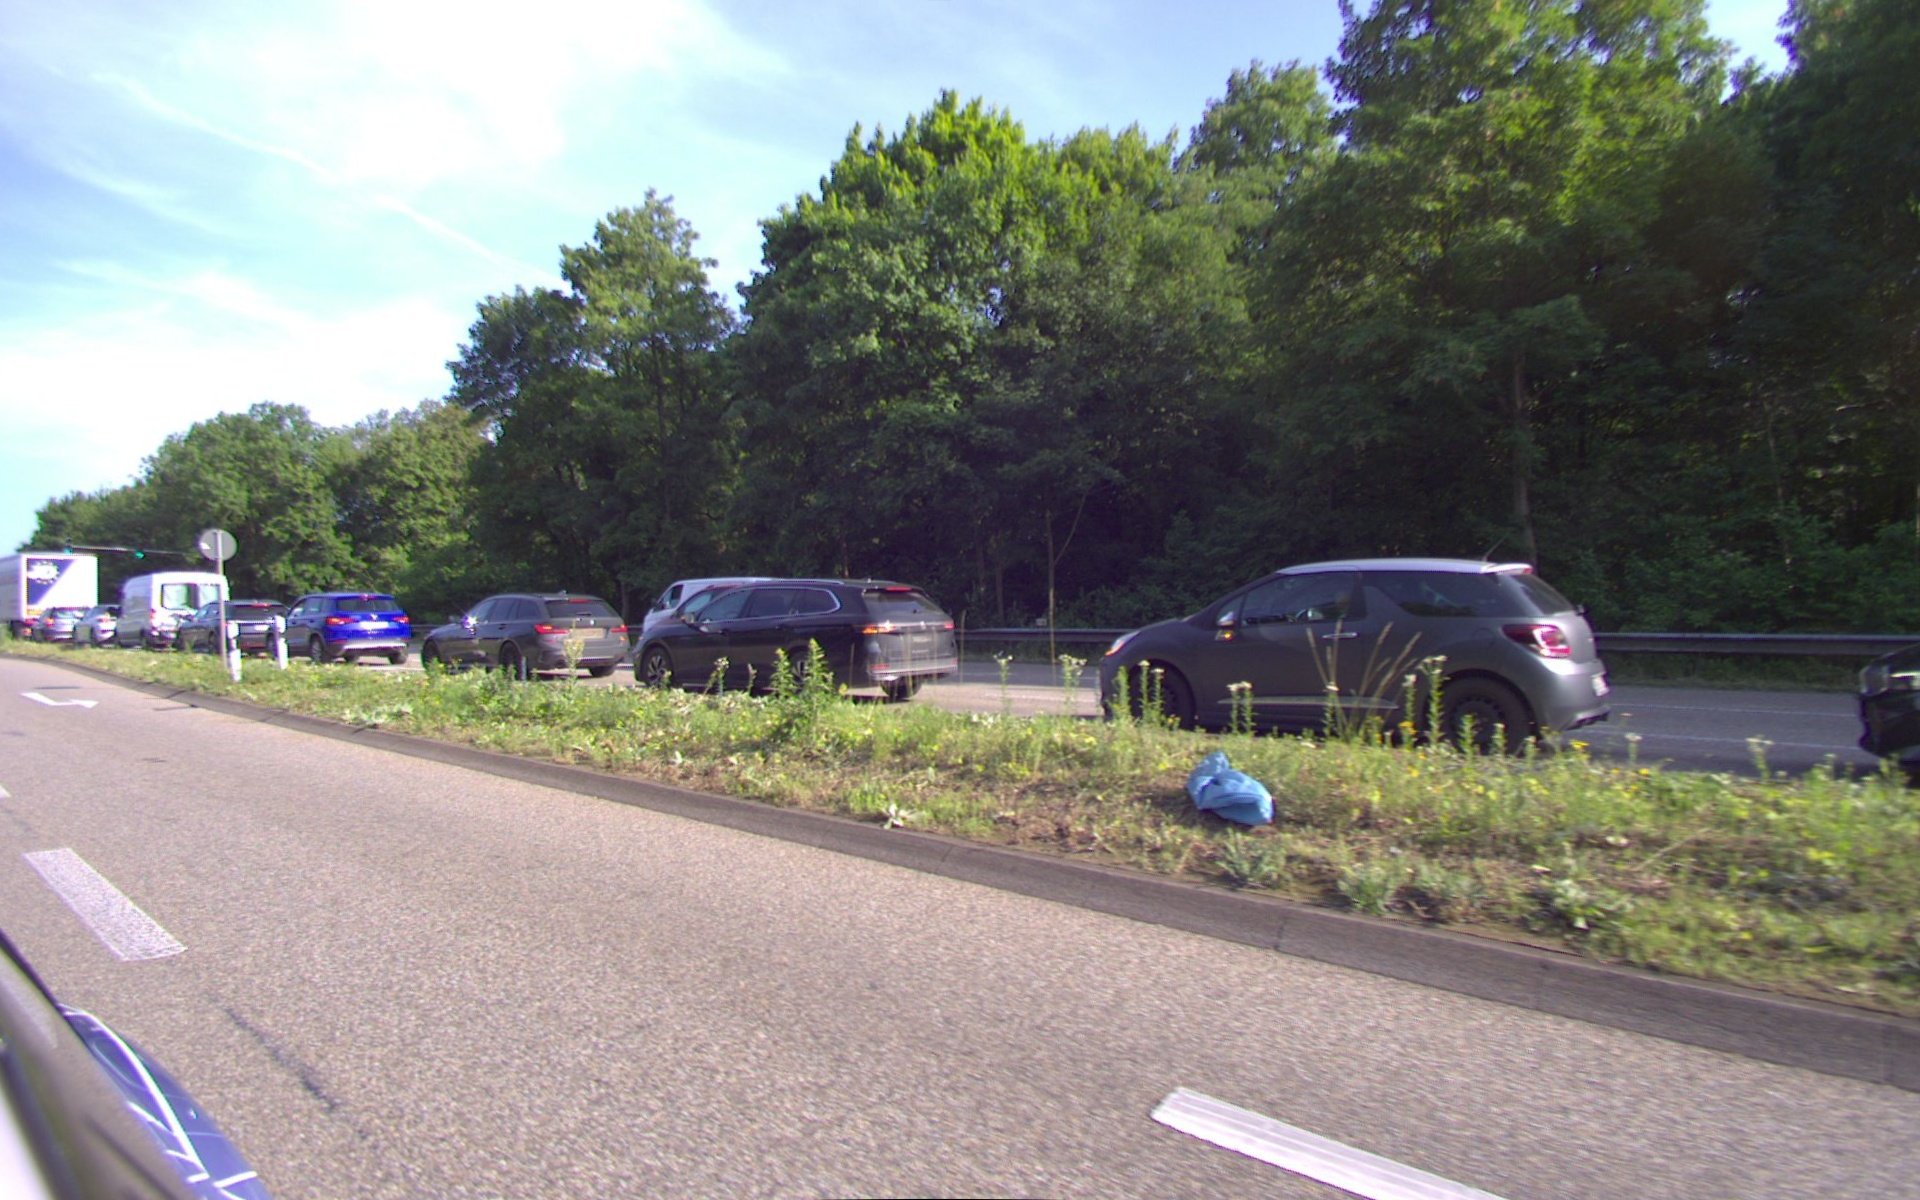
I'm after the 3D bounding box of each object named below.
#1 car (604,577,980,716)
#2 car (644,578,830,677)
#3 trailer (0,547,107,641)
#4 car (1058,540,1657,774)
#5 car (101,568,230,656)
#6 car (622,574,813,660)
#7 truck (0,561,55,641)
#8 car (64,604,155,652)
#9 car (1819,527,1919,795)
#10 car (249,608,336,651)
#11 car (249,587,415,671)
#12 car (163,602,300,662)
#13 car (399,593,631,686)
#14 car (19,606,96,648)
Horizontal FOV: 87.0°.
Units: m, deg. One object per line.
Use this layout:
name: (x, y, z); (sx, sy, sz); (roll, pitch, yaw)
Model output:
car: (-2.307, 0.536, 12.764); (5.188, 1.434, 1.753); (-2, -1, 40)
car: (-4.305, 0.548, 19.342); (3.571, 1.719, 1.609); (-2, -3, 39)
trailer: (-45.066, -0.158, 49.059); (13.998, 4.025, 2.963); (-2, 1, 39)
car: (3.014, 0.399, 8.225); (4.208, 1.434, 1.689); (-2, -1, 40)
car: (-25.444, 0.415, 32.316); (6.159, 2.553, 2.054); (-2, -1, 40)
car: (-6.115, 0.478, 25.177); (5.098, 1.950, 1.991); (-2, -4, 40)
truck: (-50.654, 0.122, 53.616); (6.713, 4.027, 2.863); (-2, 1, 39)
car: (-31.370, 1.023, 37.295); (4.742, 1.644, 1.683); (-2, -1, 39)
car: (7.406, 0.278, 4.666); (5.189, 1.434, 1.749); (-2, -1, 40)
car: (-23.247, 1.036, 35.195); (3.615, 1.394, 1.530); (-2, -4, 40)
car: (-14.056, 0.642, 22.543); (4.796, 1.682, 1.753); (-2, -1, 40)
car: (-19.355, 0.831, 26.793); (5.181, 1.467, 1.742); (-2, -1, 40)
car: (-7.810, 0.653, 17.525); (4.839, 1.390, 1.753); (-2, -1, 40)
car: (-37.360, 1.106, 41.878); (4.365, 1.644, 1.683); (-2, -1, 39)
